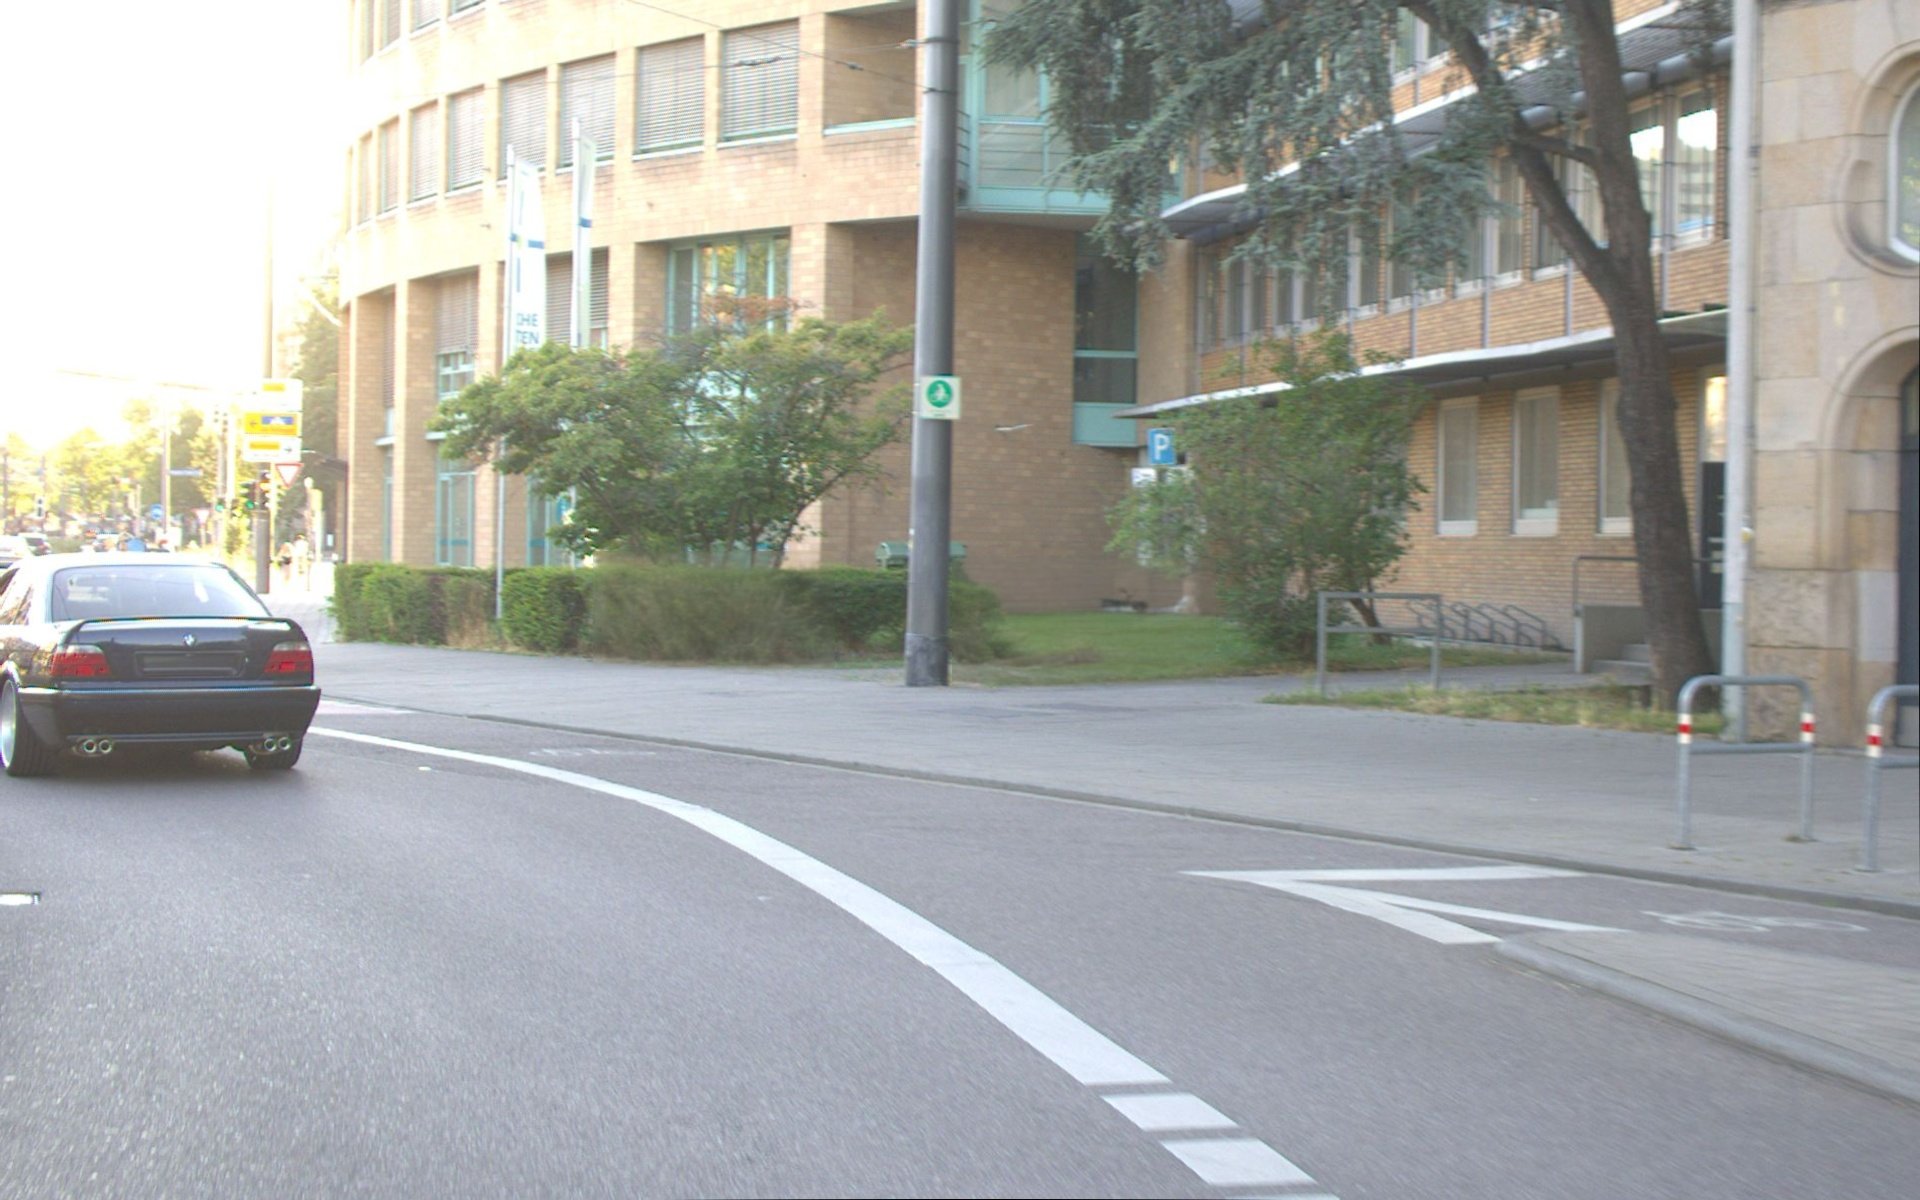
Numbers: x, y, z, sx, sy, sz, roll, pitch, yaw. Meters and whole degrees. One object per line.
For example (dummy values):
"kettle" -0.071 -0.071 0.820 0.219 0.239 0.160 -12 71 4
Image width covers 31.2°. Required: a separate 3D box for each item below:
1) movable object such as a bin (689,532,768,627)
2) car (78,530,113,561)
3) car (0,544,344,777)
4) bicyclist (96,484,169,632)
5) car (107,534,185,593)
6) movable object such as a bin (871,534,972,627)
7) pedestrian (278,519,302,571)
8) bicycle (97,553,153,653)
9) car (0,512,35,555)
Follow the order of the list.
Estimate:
"movable object such as a bin" -3.630 -0.325 53.995 0.971 1.432 1.345 1 2 8
"car" -47.278 -2.999 188.046 1.793 1.560 4.002 0 2 -15
"car" -5.643 0.324 23.005 1.830 1.349 4.642 -1 2 -25
"bicyclist" -8.559 -0.435 35.563 0.655 1.478 1.038 3 0 -14
"car" -20.923 -0.959 88.519 1.783 1.349 4.268 2 1 -12
"movable object such as a bin" -0.612 -0.302 53.890 1.340 1.419 0.924 0 2 -18
"pedestrian" -20.369 -1.673 104.547 0.676 1.564 0.800 0 2 -13
"bicycle" -8.626 0.019 35.546 0.515 0.951 1.776 2 1 -13
"car" -37.199 -2.627 134.720 1.793 1.560 4.002 0 2 -15
